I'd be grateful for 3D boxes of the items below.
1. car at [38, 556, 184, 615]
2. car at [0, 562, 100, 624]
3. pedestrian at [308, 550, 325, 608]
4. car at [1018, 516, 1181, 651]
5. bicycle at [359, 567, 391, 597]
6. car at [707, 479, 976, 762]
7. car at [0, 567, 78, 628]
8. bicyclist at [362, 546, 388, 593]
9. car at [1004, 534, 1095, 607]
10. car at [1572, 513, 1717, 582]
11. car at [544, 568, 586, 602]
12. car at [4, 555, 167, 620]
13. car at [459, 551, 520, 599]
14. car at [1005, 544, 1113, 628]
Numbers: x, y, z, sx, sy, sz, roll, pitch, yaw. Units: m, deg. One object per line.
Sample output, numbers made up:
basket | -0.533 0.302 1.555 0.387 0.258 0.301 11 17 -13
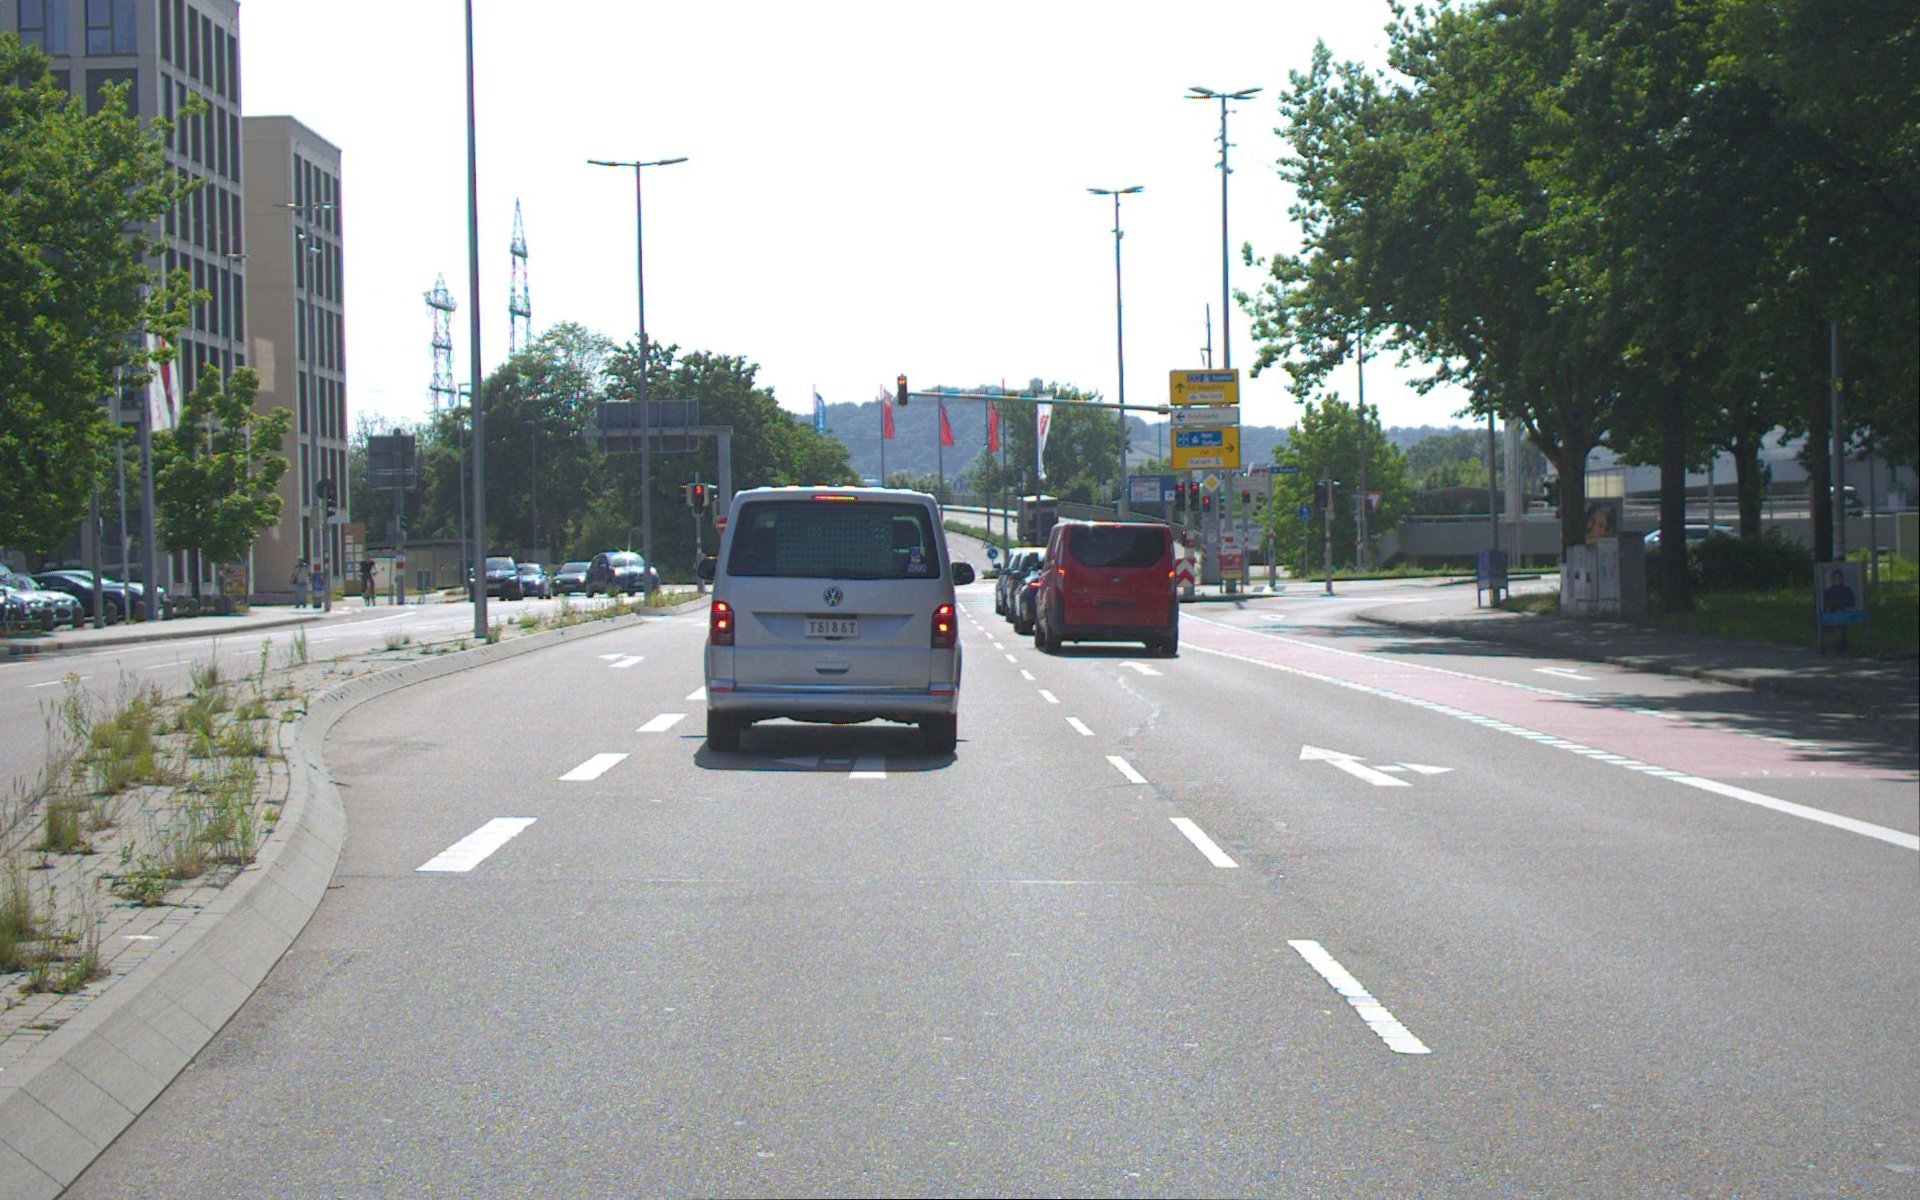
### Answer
car | -23.779 -0.402 96.352 3.593 1.353 1.640 -4 1 0
car | -23.727 -0.104 86.005 3.874 1.360 1.749 -4 1 3
pedestrian | -22.210 -0.732 118.688 0.558 2.007 0.576 0 1 -9
car | 2.089 -0.281 52.869 1.967 1.961 5.126 0 1 -4
bicycle | -19.186 -0.583 112.724 0.680 0.937 1.973 -2 1 0
car | -0.865 0.111 26.267 1.884 1.983 4.000 0 1 -1
car | -23.650 0.030 83.477 3.874 1.329 1.848 -4 1 3
bicyclist | -19.189 -1.016 112.816 0.618 1.521 1.036 -2 1 0
car | 1.891 -0.653 73.486 1.746 1.511 4.078 0 1 -1
car | 22.435 -1.732 112.814 4.402 1.987 1.481 -3 1 4
car | -17.741 -0.686 154.432 1.576 1.404 4.380 -1 1 -3
car | -23.891 -0.349 94.037 3.874 1.460 1.868 -4 1 1
car | -17.083 -0.916 124.929 1.738 1.613 4.210 -4 1 -3
car | 1.779 -0.280 62.818 1.746 1.453 4.476 0 1 -1
